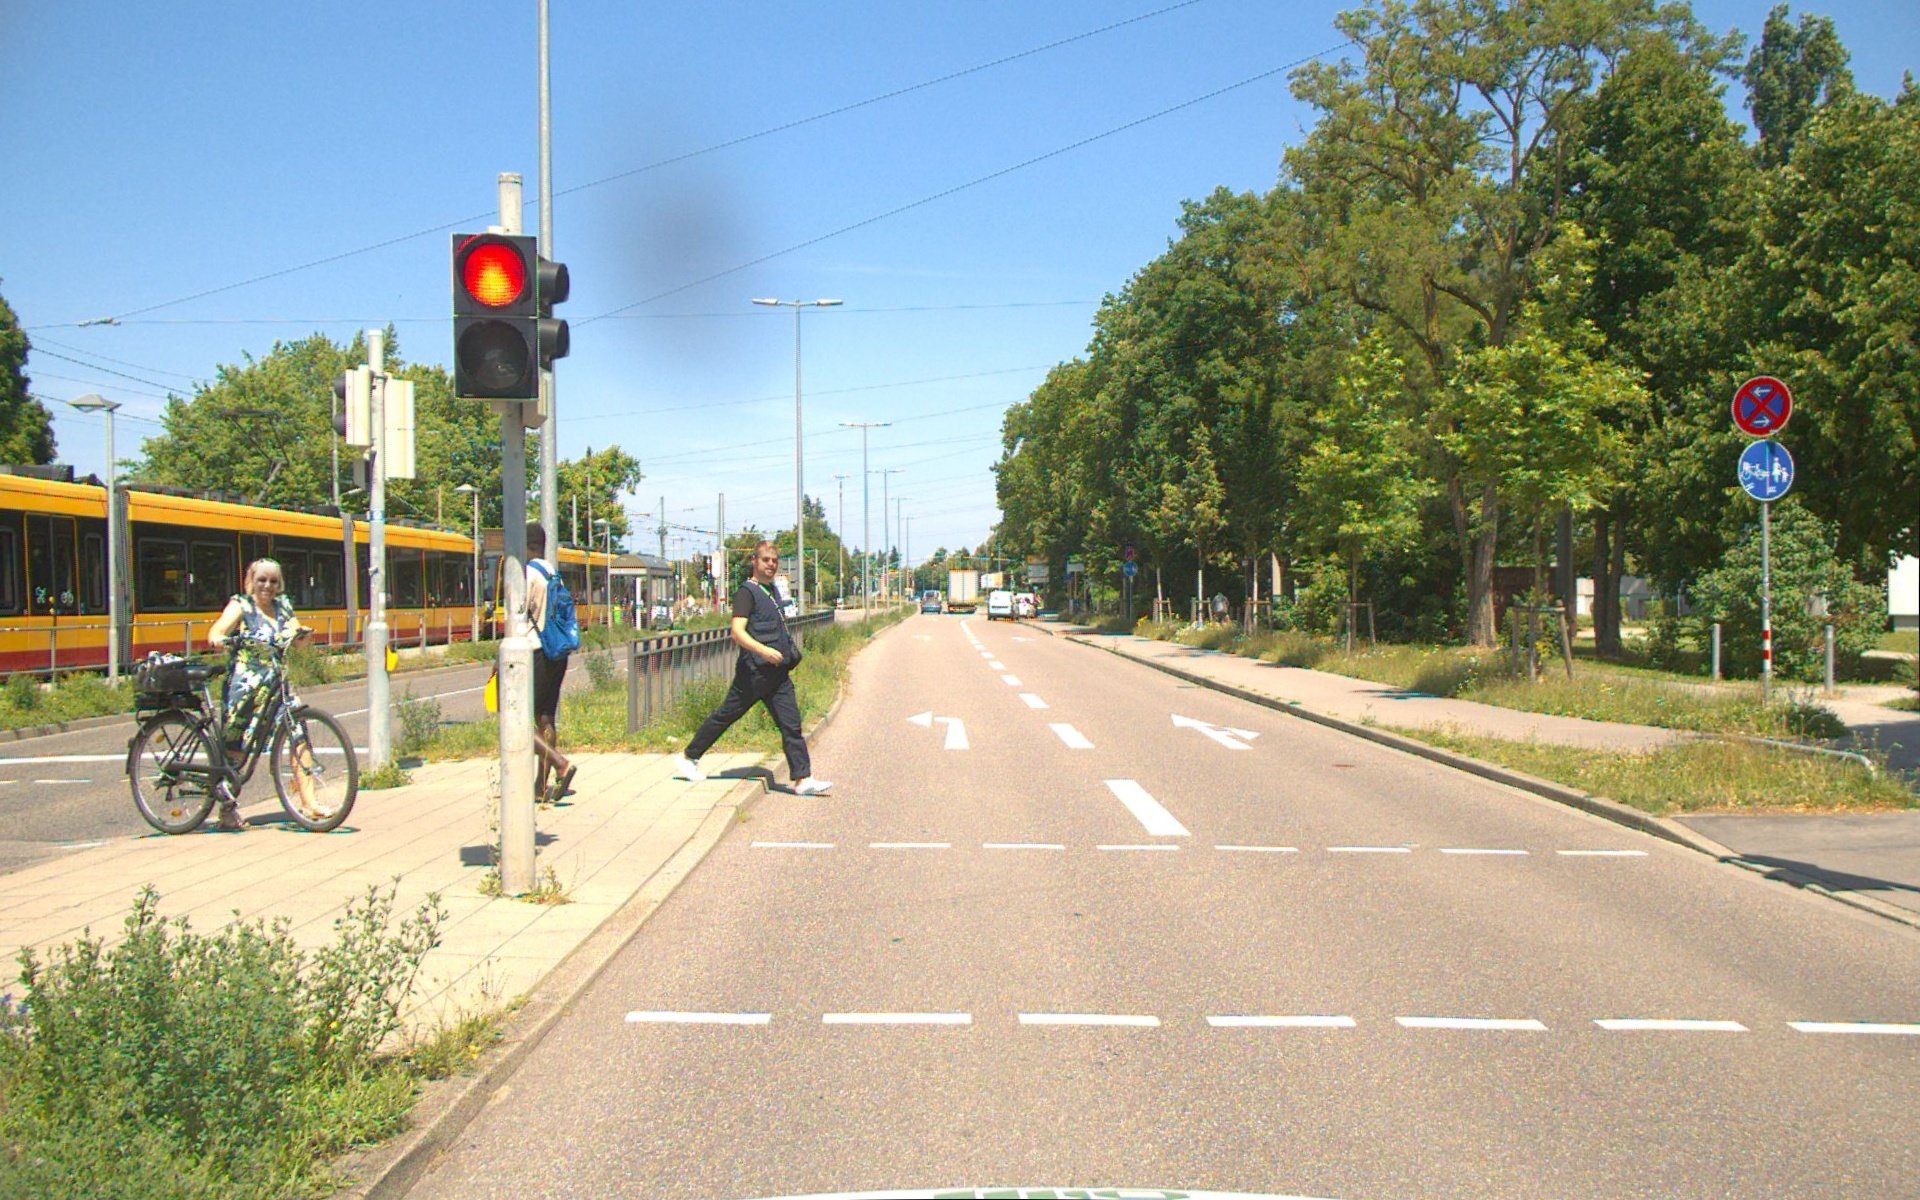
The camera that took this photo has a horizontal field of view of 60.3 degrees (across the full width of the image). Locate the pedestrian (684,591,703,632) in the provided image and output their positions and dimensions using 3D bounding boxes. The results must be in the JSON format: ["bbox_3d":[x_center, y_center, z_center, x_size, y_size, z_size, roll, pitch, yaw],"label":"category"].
[{"bbox_3d":[-13.460,0.576,83.453,0.798,2.049,0.938,0,0,-1],"label":"pedestrian"}]

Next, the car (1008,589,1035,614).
[{"bbox_3d":[4.417,0.094,118.865,1.743,1.698,3.999,0,0,-1],"label":"car"}]

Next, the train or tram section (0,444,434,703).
[{"bbox_3d":[-15.627,-0.404,29.862,2.897,3.815,30.029,0,0,0],"label":"train or tram section"}]

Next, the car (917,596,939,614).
[{"bbox_3d":[-2.717,0.414,140.843,1.774,1.490,3.999,0,0,-1],"label":"car"}]

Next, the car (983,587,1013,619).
[{"bbox_3d":[2.391,0.187,104.546,1.743,1.937,3.999,0,0,-1],"label":"car"}]

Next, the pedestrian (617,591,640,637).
[{"bbox_3d":[-13.846,0.582,69.095,0.769,1.901,0.817,0,0,-1],"label":"pedestrian"}]

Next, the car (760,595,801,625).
[{"bbox_3d":[-9.358,0.500,86.556,1.807,1.521,3.790,0,0,-1],"label":"car"}]

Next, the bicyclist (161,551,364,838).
[{"bbox_3d":[-4.281,0.566,10.178,0.937,1.696,0.581,-2,1,17],"label":"bicyclist"}]

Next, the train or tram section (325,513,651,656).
[{"bbox_3d":[-15.881,-0.496,61.382,2.871,3.856,33.083,0,0,0],"label":"train or tram section"}]

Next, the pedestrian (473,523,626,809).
[{"bbox_3d":[-2.677,0.410,10.845,0.823,1.808,0.720,1,2,-1],"label":"pedestrian"}]

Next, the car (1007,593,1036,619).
[{"bbox_3d":[4.192,0.376,112.514,1.743,1.698,3.999,0,0,-1],"label":"car"}]

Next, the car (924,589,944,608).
[{"bbox_3d":[-2.591,-0.157,163.427,1.953,1.847,3.999,1,0,-1],"label":"car"}]

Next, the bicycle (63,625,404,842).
[{"bbox_3d":[-4.286,0.779,9.750,1.916,1.181,0.541,-2,1,17],"label":"bicycle"}]

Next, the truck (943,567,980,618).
[{"bbox_3d":[0.085,-0.671,146.133,3.140,4.435,6.559,0,0,-1],"label":"truck"}]

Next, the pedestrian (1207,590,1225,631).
[{"bbox_3d":[9.189,0.382,59.374,0.591,1.463,0.556,0,0,6],"label":"pedestrian"}]

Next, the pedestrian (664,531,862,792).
[{"bbox_3d":[-1.441,0.434,12.145,1.162,1.809,0.838,0,-2,30],"label":"pedestrian"}]

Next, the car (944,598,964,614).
[{"bbox_3d":[-0.574,0.531,153.612,1.774,1.490,3.999,0,0,-1],"label":"car"}]

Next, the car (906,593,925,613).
[{"bbox_3d":[-4.678,0.297,175.101,1.953,2.049,3.999,0,0,-1],"label":"car"}]

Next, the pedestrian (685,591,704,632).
[{"bbox_3d":[-13.563,0.579,84.540,0.798,2.049,0.938,0,0,-1],"label":"pedestrian"}]
